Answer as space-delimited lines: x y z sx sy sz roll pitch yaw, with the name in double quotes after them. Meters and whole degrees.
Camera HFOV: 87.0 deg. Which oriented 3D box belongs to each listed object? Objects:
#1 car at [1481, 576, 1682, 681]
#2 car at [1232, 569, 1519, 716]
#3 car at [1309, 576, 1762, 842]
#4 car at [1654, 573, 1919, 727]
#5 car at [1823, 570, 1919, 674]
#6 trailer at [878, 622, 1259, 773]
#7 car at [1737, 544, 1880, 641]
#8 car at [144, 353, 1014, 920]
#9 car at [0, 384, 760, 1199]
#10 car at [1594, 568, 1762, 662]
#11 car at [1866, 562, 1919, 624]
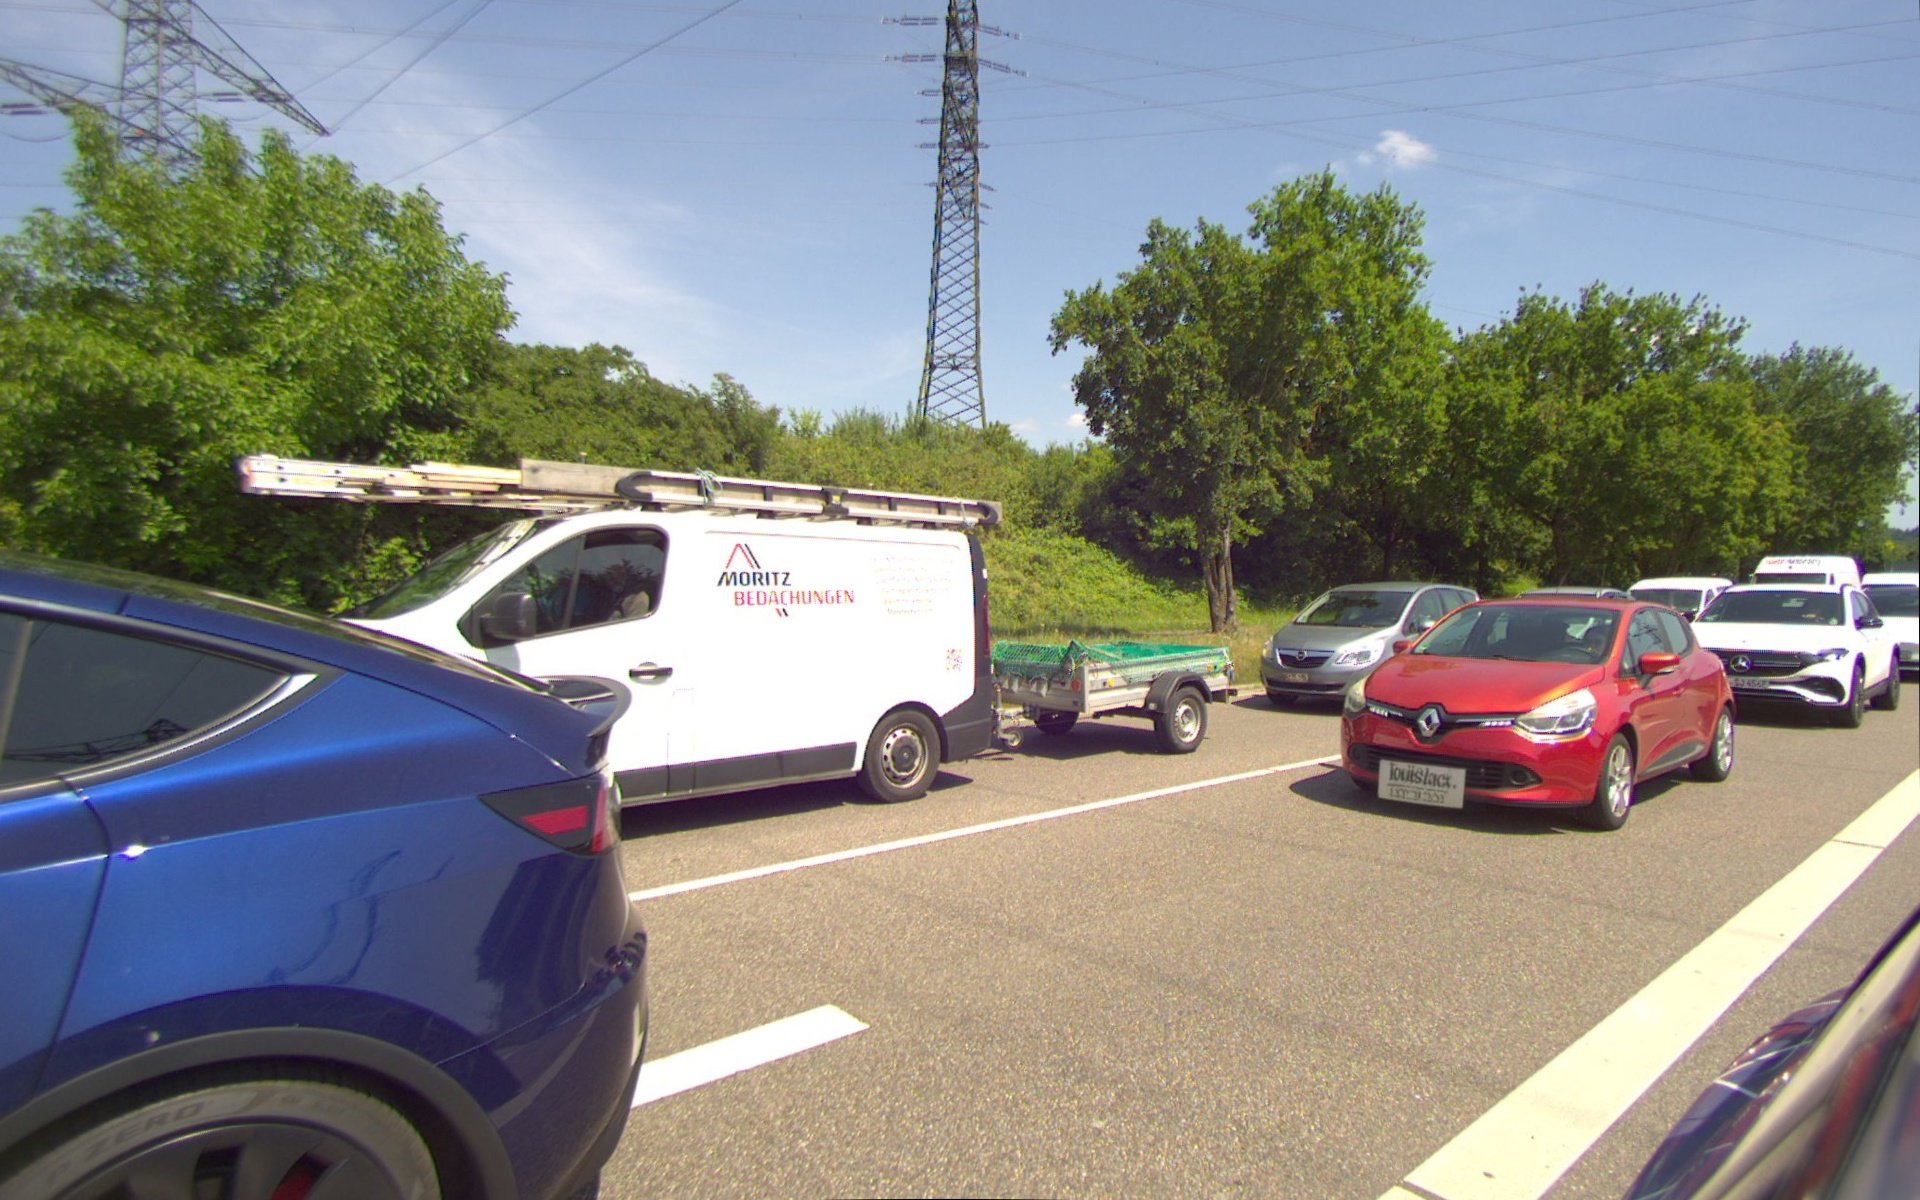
10.888 0.422 17.614 4.196 1.614 1.746 0 1 -40 "car"
5.530 0.448 13.254 4.091 1.615 1.769 0 2 -40 "car"
4.471 0.587 7.603 3.994 1.480 1.746 0 1 -41 "car"
10.397 0.496 12.573 4.286 1.588 1.849 0 1 -40 "car"
17.134 0.349 18.154 3.931 1.702 2.020 0 1 -42 "car"
1.073 0.766 9.280 3.265 1.019 1.709 0 1 -40 "trailer"
25.752 -0.235 30.588 6.895 2.640 2.231 0 1 -41 "car"
-2.112 0.127 6.613 4.986 2.378 1.936 0 1 -40 "car"
-2.696 0.543 1.321 4.441 1.665 1.904 0 1 -41 "car"
15.513 0.266 21.766 4.949 1.823 1.808 0 1 -41 "car"
40.126 -0.291 42.481 5.710 2.453 2.307 0 1 -40 "car"
